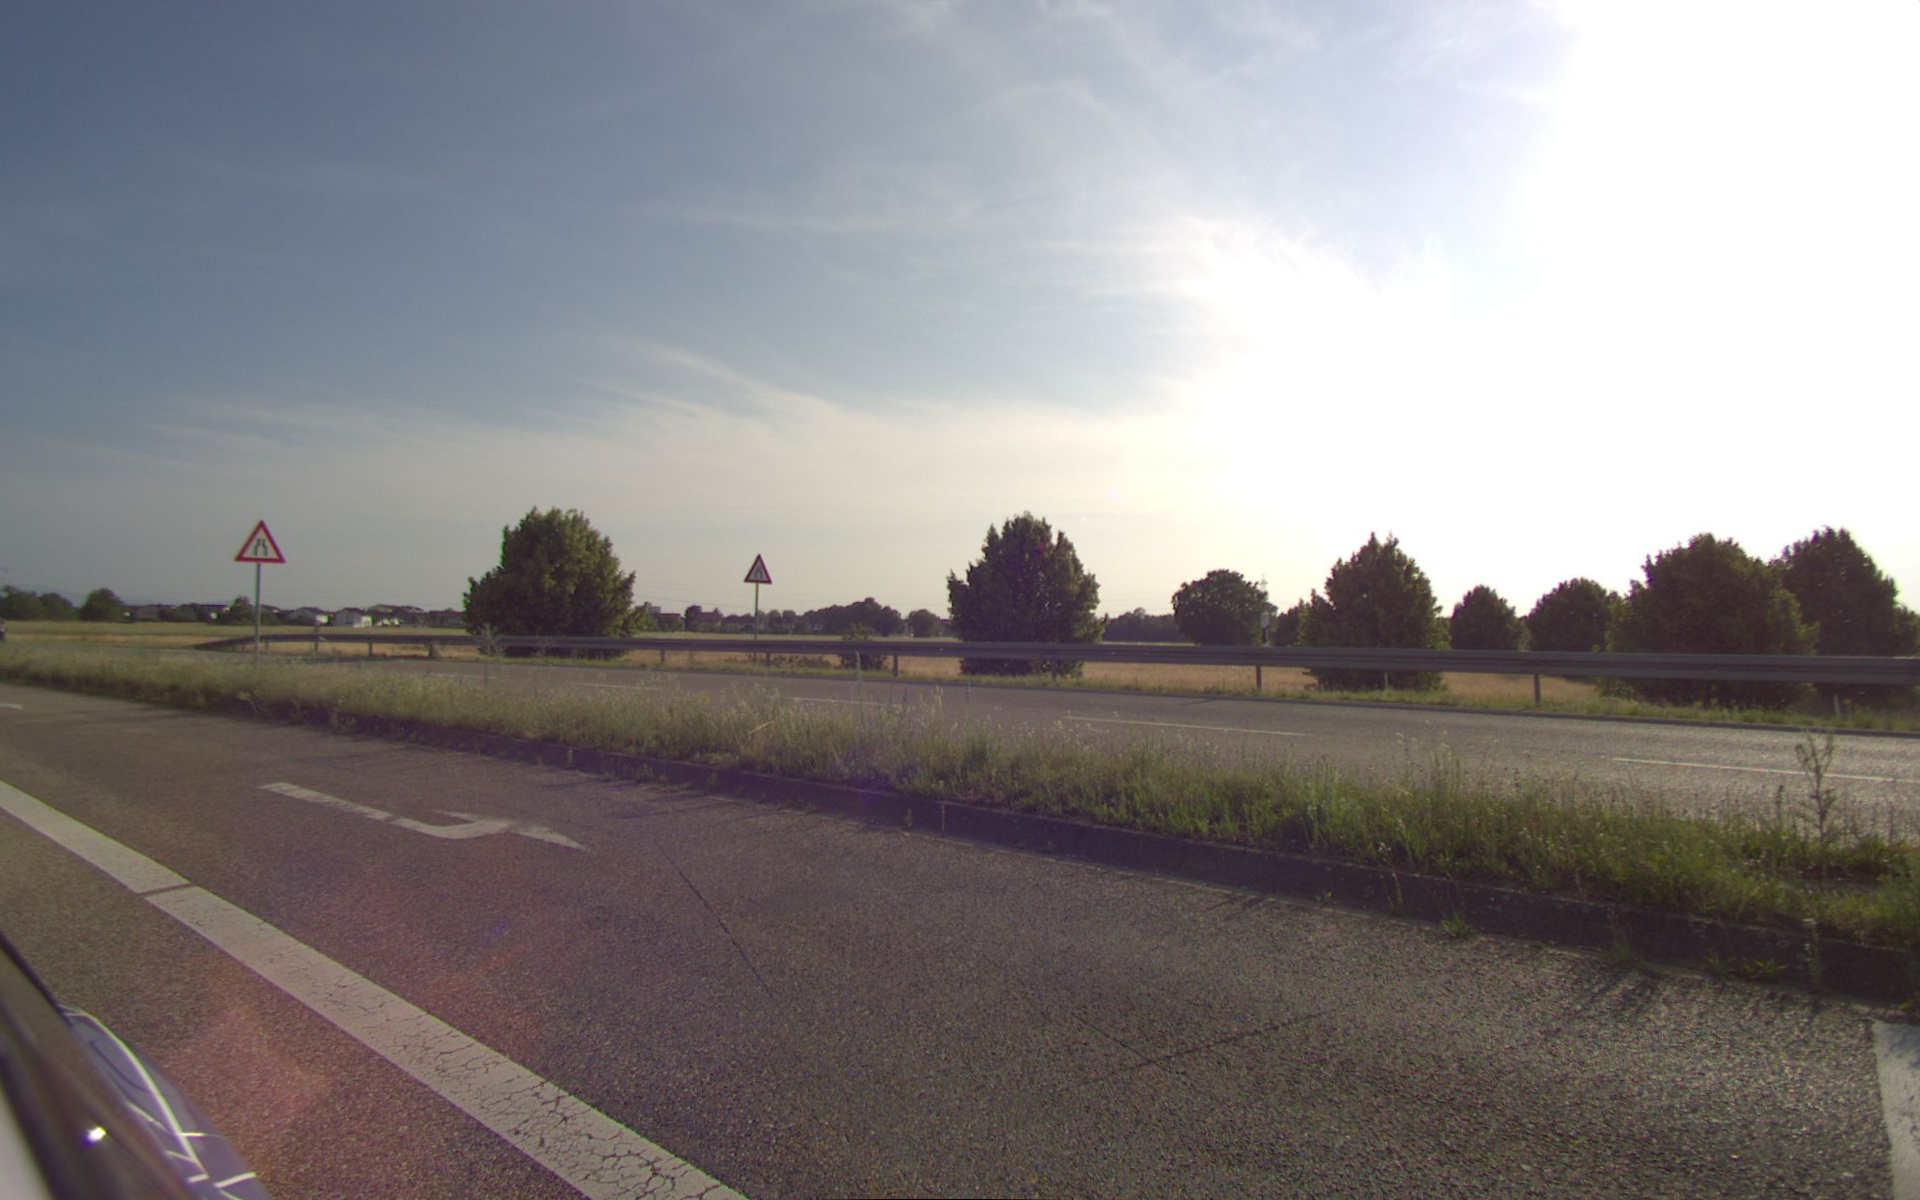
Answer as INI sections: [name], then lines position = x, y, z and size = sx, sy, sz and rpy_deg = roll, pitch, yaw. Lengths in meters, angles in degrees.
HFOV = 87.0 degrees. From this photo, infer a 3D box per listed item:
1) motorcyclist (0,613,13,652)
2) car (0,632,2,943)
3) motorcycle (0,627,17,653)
[motorcyclist]
position = -43.996, 1.481, 46.242
size = 0.830, 1.771, 0.896
rpy_deg = -1, -1, 35
[car]
position = -6.458, 0.878, 5.063
size = 3.914, 1.407, 1.917
rpy_deg = -1, 0, 39
[motorcycle]
position = -43.995, 1.814, 46.243
size = 2.166, 1.133, 0.929
rpy_deg = -1, -1, 35
